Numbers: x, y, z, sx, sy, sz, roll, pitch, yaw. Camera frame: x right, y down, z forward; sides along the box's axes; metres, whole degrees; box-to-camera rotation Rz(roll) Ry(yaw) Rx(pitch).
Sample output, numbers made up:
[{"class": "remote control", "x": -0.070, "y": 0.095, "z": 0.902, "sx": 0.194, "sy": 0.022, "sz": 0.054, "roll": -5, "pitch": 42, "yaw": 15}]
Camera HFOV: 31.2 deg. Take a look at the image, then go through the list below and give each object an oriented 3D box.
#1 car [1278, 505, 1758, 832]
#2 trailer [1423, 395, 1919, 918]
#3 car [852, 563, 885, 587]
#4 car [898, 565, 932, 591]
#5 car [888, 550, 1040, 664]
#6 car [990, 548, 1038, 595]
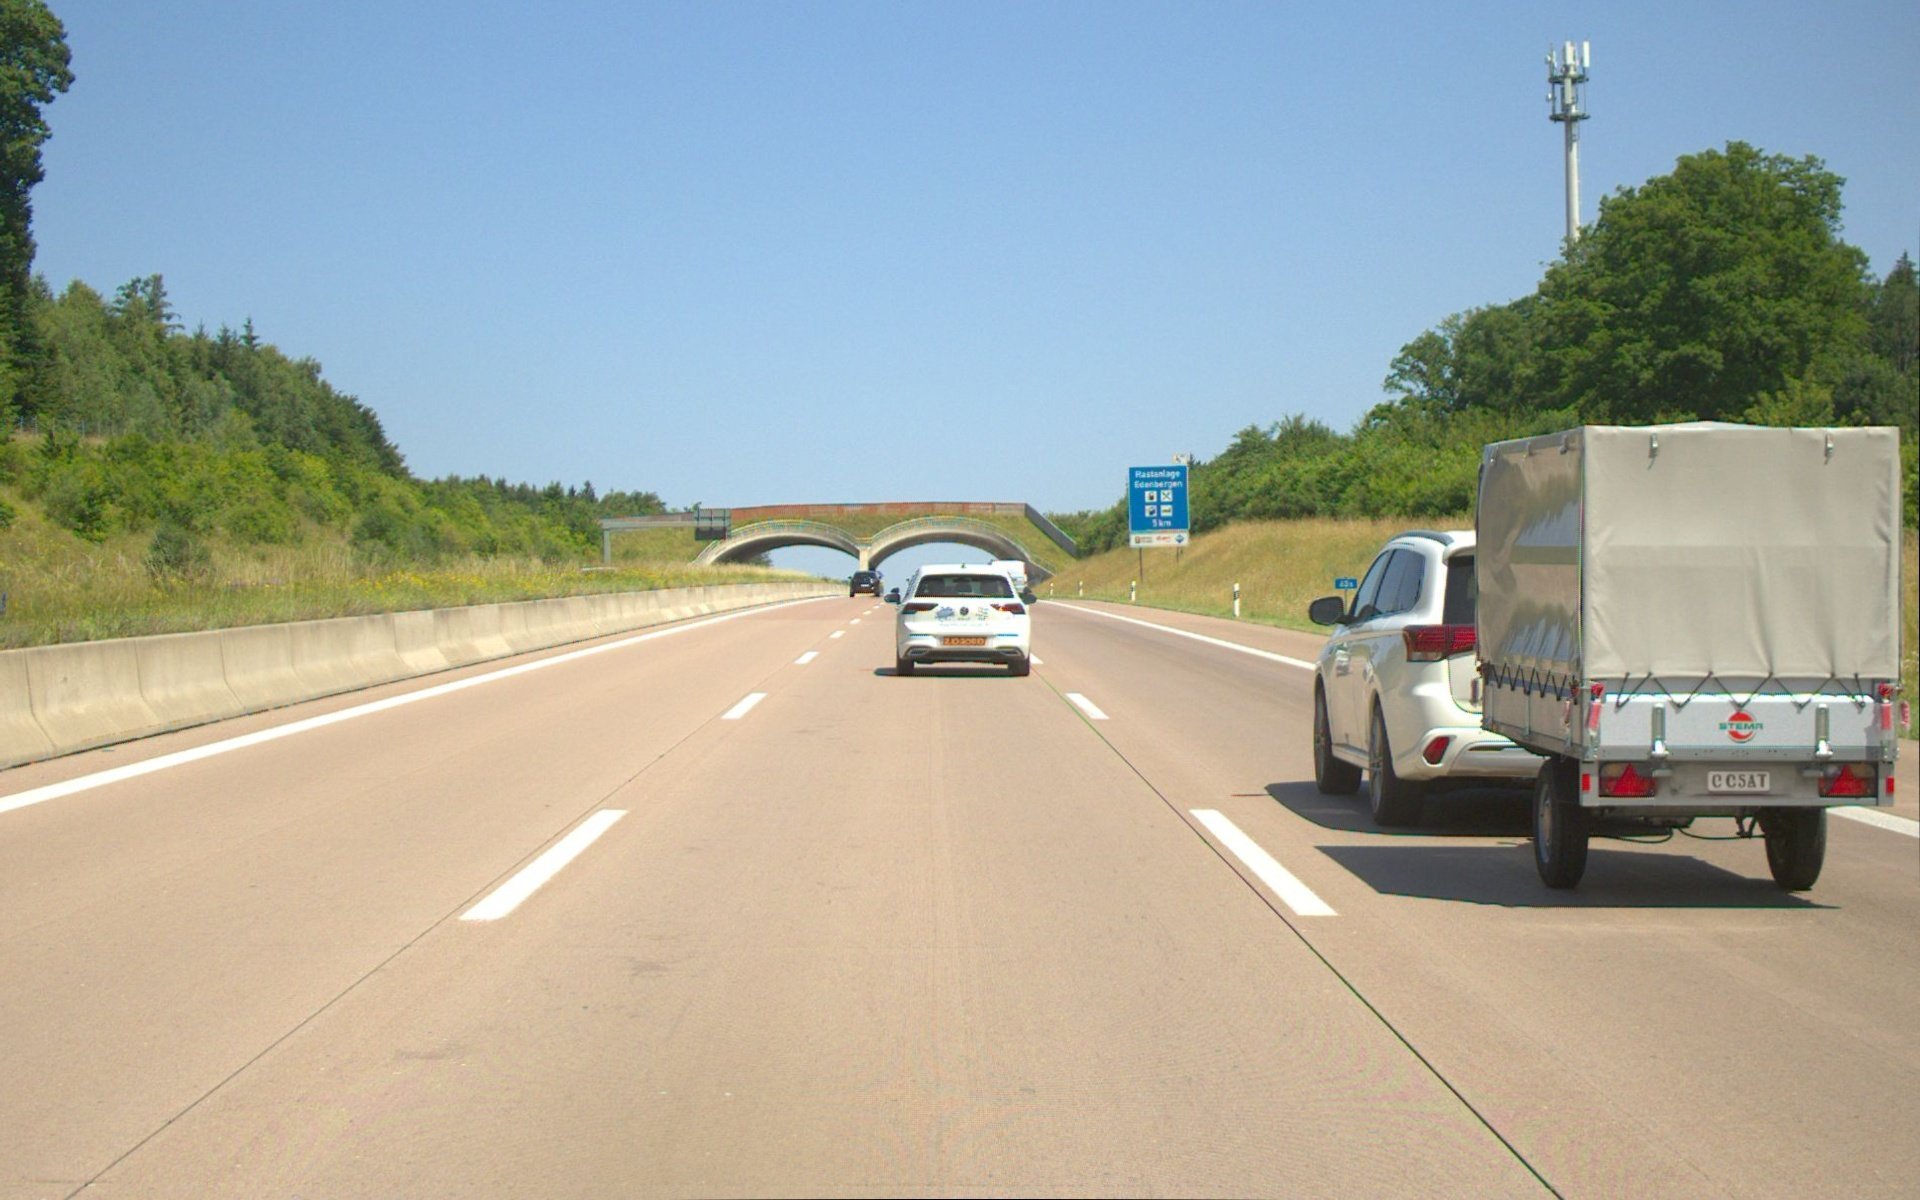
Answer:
[{"class": "car", "x": 3.188, "y": 0.324, "z": 20.748, "sx": 1.890, "sy": 1.722, "sz": 5.187, "roll": 0, "pitch": 1, "yaw": -2}, {"class": "trailer", "x": 3.317, "y": 0.208, "z": 16.215, "sx": 1.657, "sy": 2.156, "sz": 4.016, "roll": 0, "pitch": 1, "yaw": -1}, {"class": "car", "x": -5.867, "y": -1.602, "z": 220.250, "sx": 1.891, "sy": 1.458, "sz": 4.000, "roll": 0, "pitch": 1, "yaw": 2}, {"class": "car", "x": -2.621, "y": -1.269, "z": 200.116, "sx": 1.891, "sy": 1.458, "sz": 4.000, "roll": 1, "pitch": 1, "yaw": 0}, {"class": "car", "x": 0.100, "y": 0.059, "z": 45.530, "sx": 1.891, "sy": 1.393, "sz": 4.000, "roll": 1, "pitch": 1, "yaw": 2}, {"class": "car", "x": 2.448, "y": -1.288, "z": 155.273, "sx": 2.110, "sy": 2.047, "sz": 4.000, "roll": 0, "pitch": 1, "yaw": 2}]
